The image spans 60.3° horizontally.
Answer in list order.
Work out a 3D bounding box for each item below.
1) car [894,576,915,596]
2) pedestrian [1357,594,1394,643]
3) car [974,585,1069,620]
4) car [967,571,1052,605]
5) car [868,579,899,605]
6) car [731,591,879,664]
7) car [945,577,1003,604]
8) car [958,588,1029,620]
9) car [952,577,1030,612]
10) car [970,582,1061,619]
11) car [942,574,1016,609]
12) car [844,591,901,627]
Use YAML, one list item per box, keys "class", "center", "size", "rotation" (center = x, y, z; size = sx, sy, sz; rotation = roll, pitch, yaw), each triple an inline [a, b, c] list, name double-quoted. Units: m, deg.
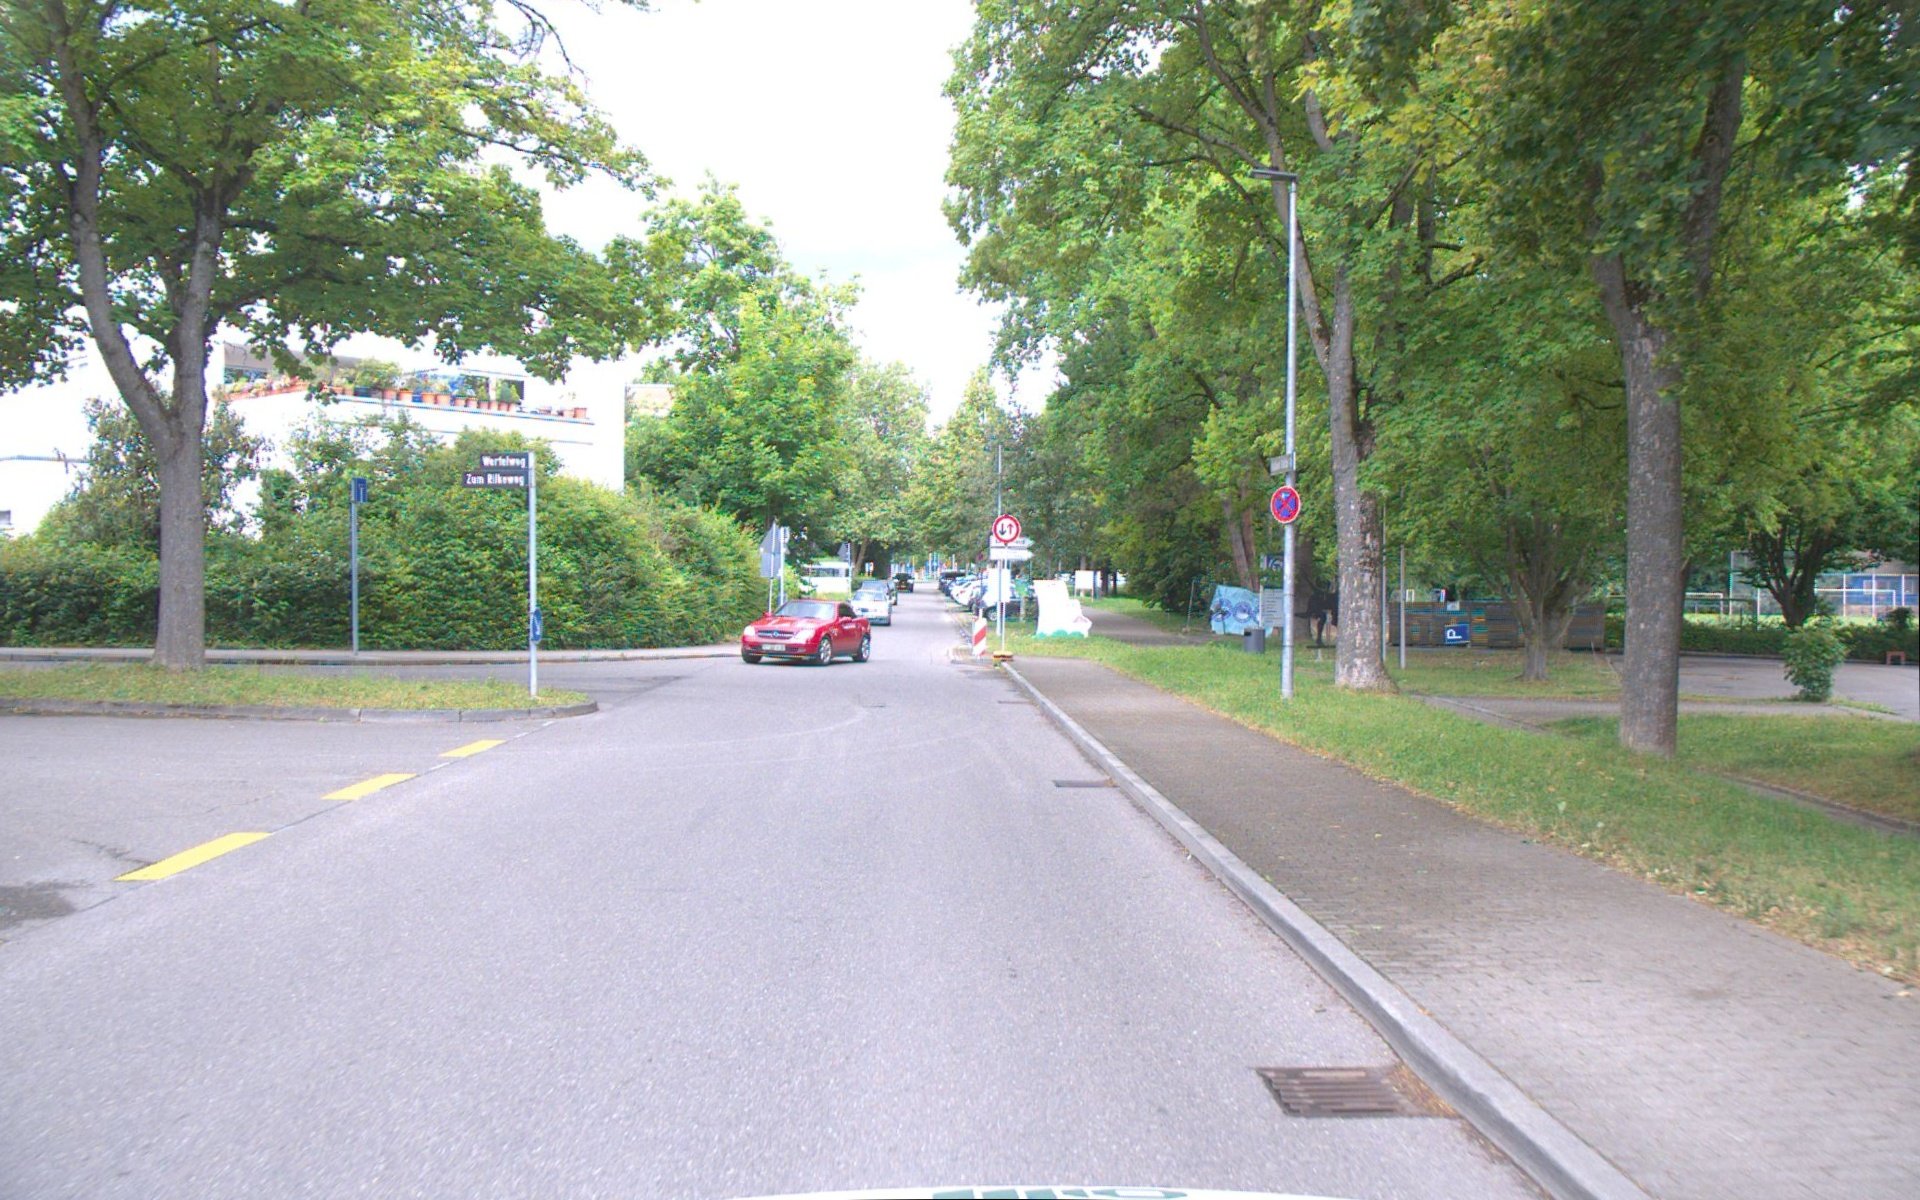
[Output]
- class: "car"
  center: [-5.226, -1.346, 156.666]
  size: [1.929, 1.778, 4.336]
  rotation: [1, 1, -2]
- class: "pedestrian"
  center: [14.685, 0.640, 58.433]
  size: [1.124, 1.704, 0.793]
  rotation: [-1, -1, 24]
- class: "car"
  center: [2.659, 0.119, 72.254]
  size: [3.981, 1.459, 1.999]
  rotation: [-1, -1, -3]
- class: "car"
  center: [2.363, -0.580, 79.965]
  size: [3.981, 1.595, 1.822]
  rotation: [-1, 1, -3]
- class: "car"
  center: [-4.889, -0.518, 105.159]
  size: [1.768, 1.619, 4.292]
  rotation: [1, 1, -5]
- class: "car"
  center: [-3.068, 0.509, 33.631]
  size: [1.713, 1.359, 4.068]
  rotation: [1, 1, 14]
- class: "car"
  center: [1.012, -0.700, 119.187]
  size: [3.984, 1.716, 1.821]
  rotation: [-3, 1, -5]
- class: "car"
  center: [1.990, 0.228, 98.662]
  size: [3.984, 1.716, 1.821]
  rotation: [-3, 1, -5]
- class: "car"
  center: [1.655, -0.302, 89.916]
  size: [3.984, 1.716, 1.821]
  rotation: [-3, 1, -5]
- class: "car"
  center: [2.499, 0.021, 74.765]
  size: [3.981, 1.596, 1.821]
  rotation: [-1, -1, -3]
- class: "car"
  center: [1.060, -0.489, 93.923]
  size: [3.984, 1.716, 1.821]
  rotation: [-3, 1, -5]
- class: "car"
  center: [-3.439, 0.317, 65.571]
  size: [1.744, 1.329, 4.298]
  rotation: [1, 1, 3]
